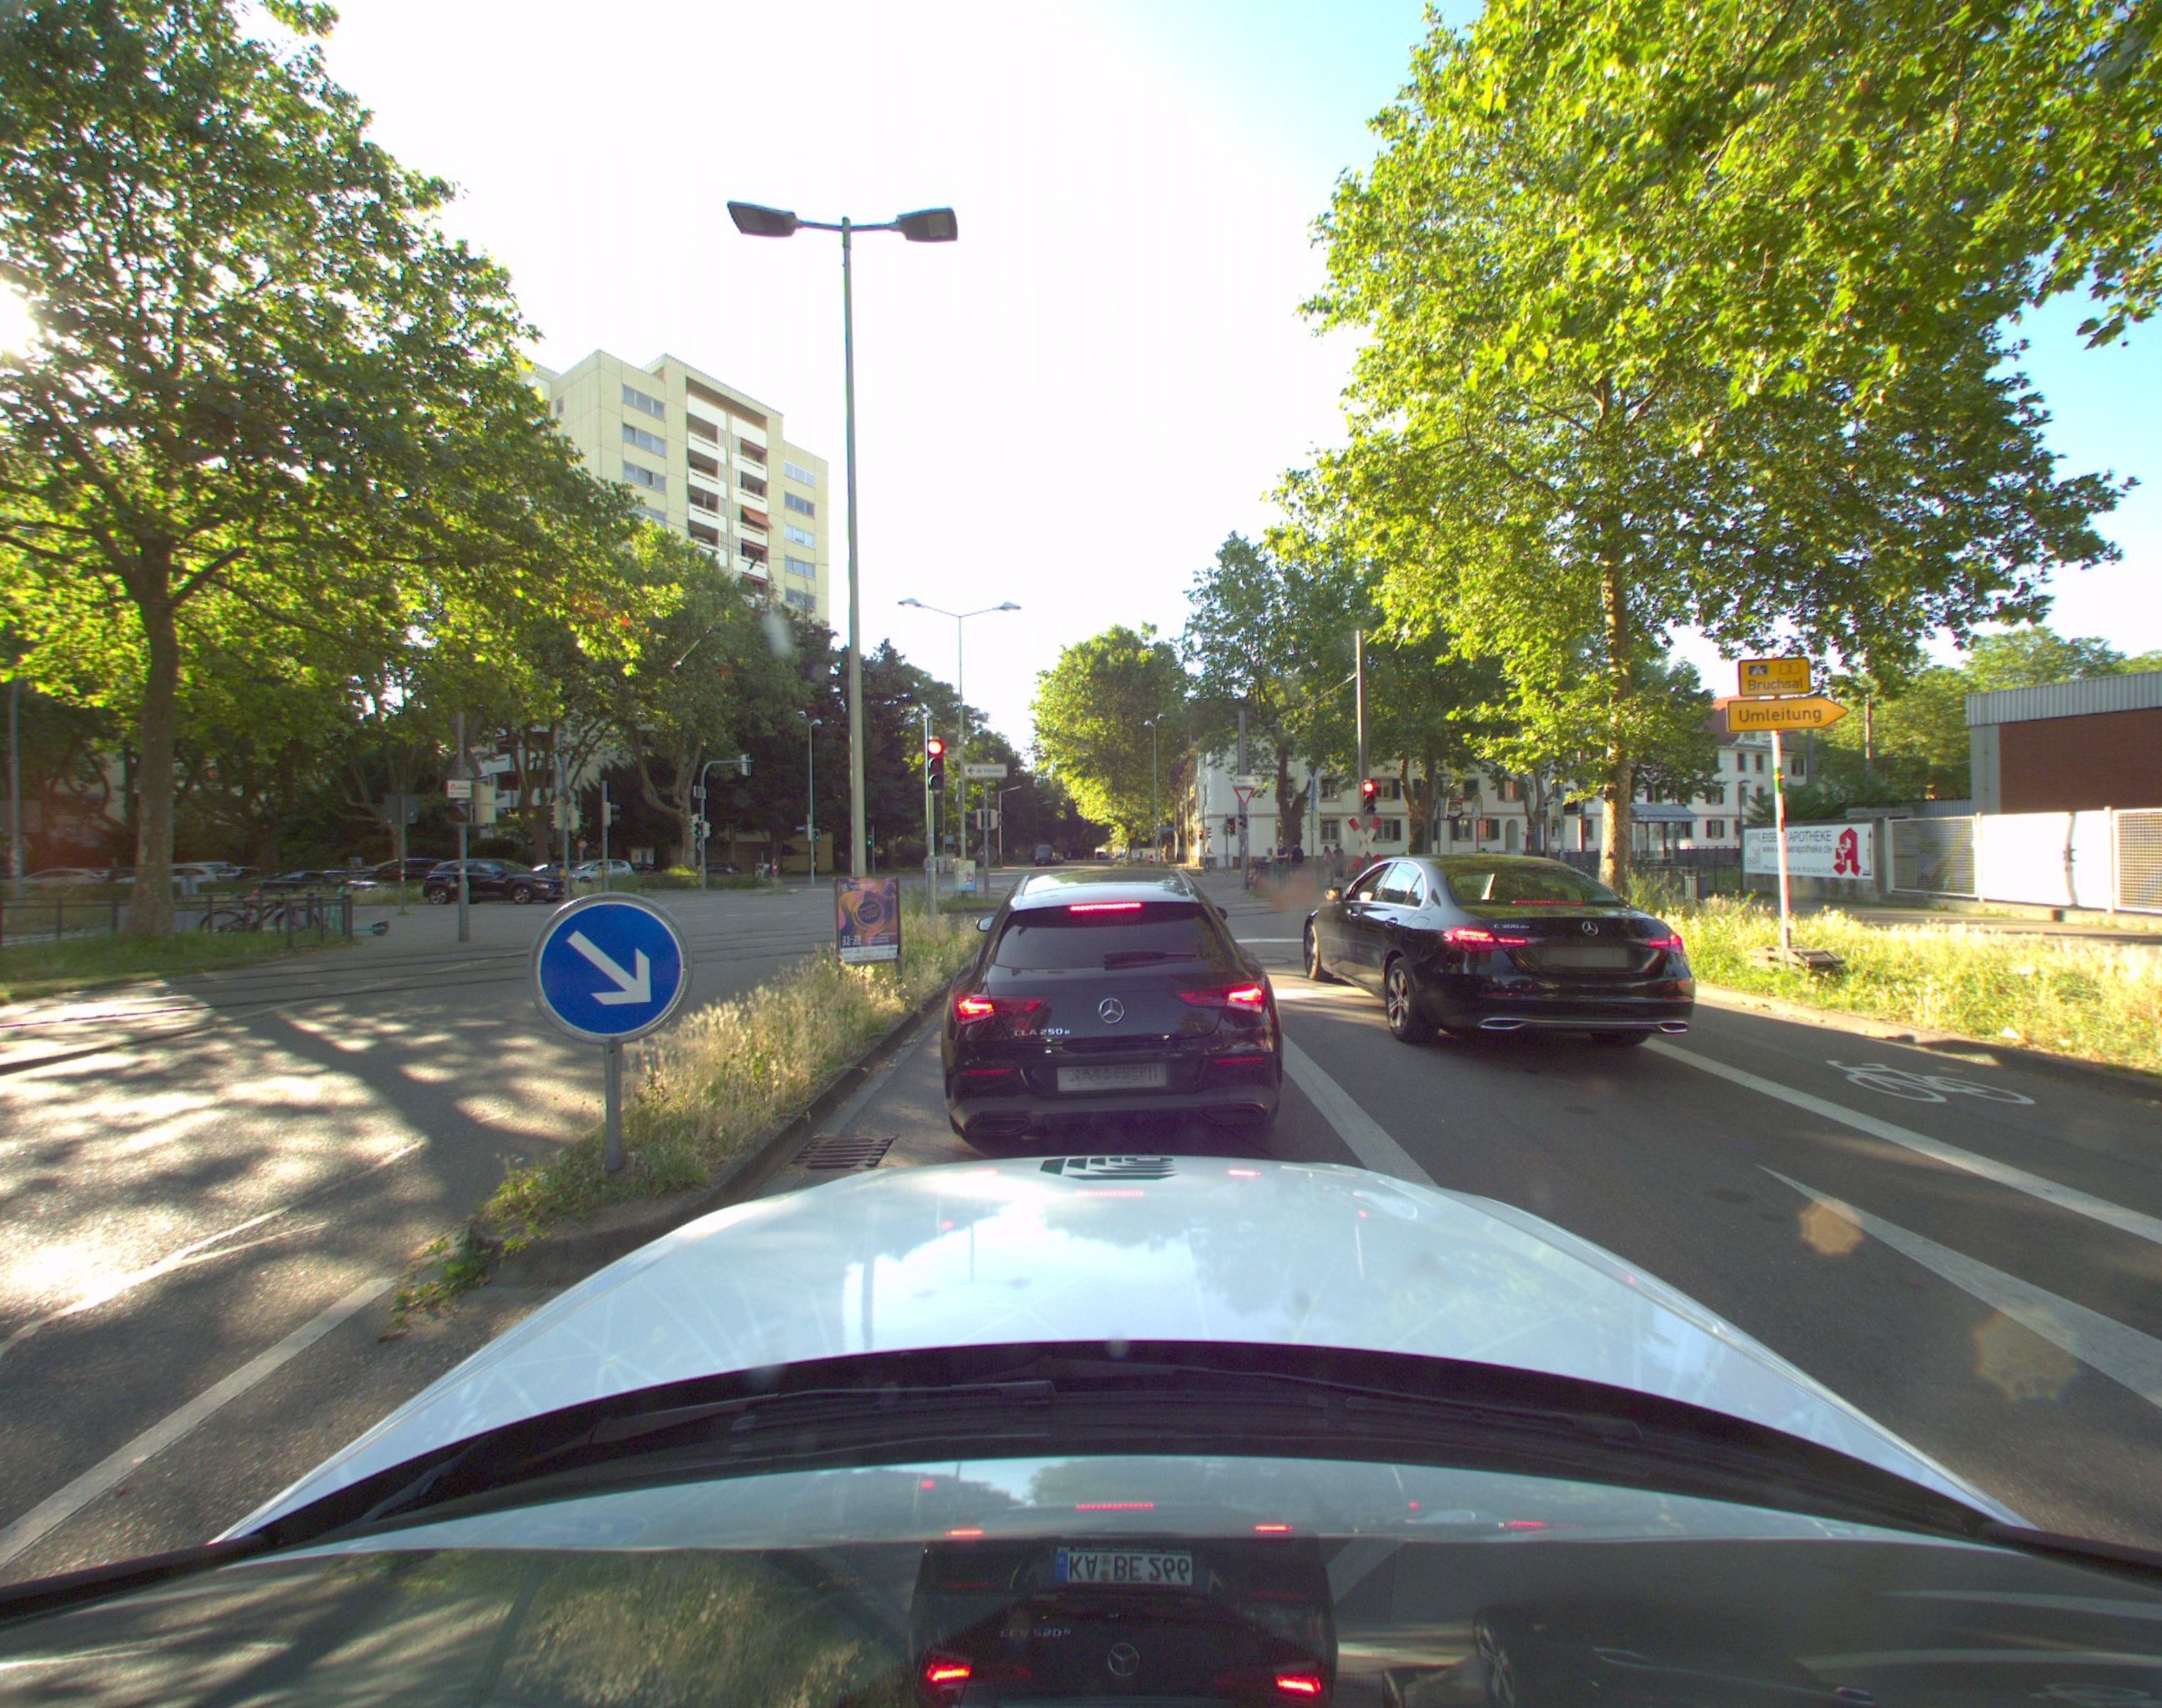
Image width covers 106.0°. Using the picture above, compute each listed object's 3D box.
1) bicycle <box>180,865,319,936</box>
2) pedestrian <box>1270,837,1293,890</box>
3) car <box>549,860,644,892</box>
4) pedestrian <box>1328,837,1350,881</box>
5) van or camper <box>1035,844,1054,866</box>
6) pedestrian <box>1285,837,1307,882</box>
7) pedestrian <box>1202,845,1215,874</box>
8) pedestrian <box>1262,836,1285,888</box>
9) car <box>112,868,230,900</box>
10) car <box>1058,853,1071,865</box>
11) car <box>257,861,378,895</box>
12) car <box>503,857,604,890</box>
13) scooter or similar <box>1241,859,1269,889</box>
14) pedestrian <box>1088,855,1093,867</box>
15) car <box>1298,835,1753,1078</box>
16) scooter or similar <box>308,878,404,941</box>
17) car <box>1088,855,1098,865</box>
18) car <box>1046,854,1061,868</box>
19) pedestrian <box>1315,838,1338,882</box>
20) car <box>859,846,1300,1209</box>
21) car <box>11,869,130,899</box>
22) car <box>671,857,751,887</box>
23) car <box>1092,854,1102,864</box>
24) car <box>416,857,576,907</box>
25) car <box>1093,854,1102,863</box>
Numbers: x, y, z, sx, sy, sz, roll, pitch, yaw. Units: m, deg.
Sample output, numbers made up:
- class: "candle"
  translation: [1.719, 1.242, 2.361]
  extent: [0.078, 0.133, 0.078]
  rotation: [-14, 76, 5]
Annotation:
- class: "bicycle"
  translation: [-15.956, 0.871, 15.673]
  extent: [1.845, 1.307, 0.380]
  rotation: [0, -1, -26]
- class: "pedestrian"
  translation: [7.409, 0.342, 30.087]
  extent: [0.680, 1.918, 0.707]
  rotation: [0, -1, 0]
- class: "car"
  translation: [-24.927, 1.096, 42.029]
  extent: [1.716, 1.596, 3.831]
  rotation: [-1, -1, 32]
- class: "pedestrian"
  translation: [11.569, 0.229, 36.544]
  extent: [0.703, 1.918, 0.838]
  rotation: [0, -1, -2]
- class: "van or camper"
  translation: [-4.426, 0.124, 100.054]
  extent: [1.986, 2.541, 4.653]
  rotation: [0, -1, 2]
- class: "pedestrian"
  translation: [9.315, 0.251, 35.272]
  extent: [0.703, 1.918, 0.838]
  rotation: [0, -1, -2]
- class: "pedestrian"
  translation: [8.456, 0.375, 53.956]
  extent: [0.703, 1.918, 0.838]
  rotation: [0, -1, -2]
- class: "pedestrian"
  translation: [7.284, 0.296, 30.863]
  extent: [0.681, 1.918, 0.707]
  rotation: [0, -1, -2]
- class: "car"
  translation: [-49.165, 1.584, 44.072]
  extent: [1.716, 1.596, 4.025]
  rotation: [-1, -1, 32]
- class: "car"
  translation: [-2.514, 0.813, 125.654]
  extent: [1.727, 1.765, 3.972]
  rotation: [0, -1, 2]
- class: "car"
  translation: [-37.418, 1.143, 40.000]
  extent: [1.716, 1.596, 4.025]
  rotation: [-1, -1, 32]
- class: "car"
  translation: [-27.224, 0.972, 42.163]
  extent: [1.716, 1.596, 4.025]
  rotation: [-1, -1, 32]
- class: "scooter or similar"
  translation: [6.452, 0.749, 30.287]
  extent: [0.826, 1.104, 0.808]
  rotation: [0, -1, -4]
- class: "pedestrian"
  translation: [1.528, 1.045, 130.204]
  extent: [0.704, 1.918, 0.837]
  rotation: [0, -1, -8]
- class: "car"
  translation: [3.401, 0.608, 7.377]
  extent: [1.882, 1.490, 4.385]
  rotation: [0, 2, 2]
- class: "scooter or similar"
  translation: [-15.096, 1.128, 16.985]
  extent: [0.408, 1.239, 1.450]
  rotation: [-1, -1, 40]
- class: "car"
  translation: [2.092, 1.000, 145.699]
  extent: [1.727, 1.765, 4.020]
  rotation: [0, -1, 2]
- class: "car"
  translation: [-3.685, 0.942, 109.597]
  extent: [1.727, 1.765, 4.343]
  rotation: [0, -1, 2]
- class: "pedestrian"
  translation: [10.718, 0.257, 35.563]
  extent: [0.703, 1.918, 0.838]
  rotation: [0, -1, -2]
- class: "car"
  translation: [0.103, 0.725, 5.486]
  extent: [1.881, 1.450, 4.004]
  rotation: [0, 2, 3]
- class: "car"
  translation: [-57.105, 1.662, 46.075]
  extent: [1.716, 1.596, 4.025]
  rotation: [-1, -1, 32]
- class: "car"
  translation: [-22.642, 1.114, 49.922]
  extent: [3.963, 1.774, 2.005]
  rotation: [-1, -1, 9]
- class: "car"
  translation: [2.905, 0.973, 150.545]
  extent: [1.727, 1.765, 4.020]
  rotation: [0, -1, 2]
- class: "car"
  translation: [-19.486, 0.912, 27.255]
  extent: [3.981, 1.596, 1.735]
  rotation: [0, -1, -5]
- class: "car"
  translation: [3.235, 0.894, 158.628]
  extent: [1.727, 1.765, 4.020]
  rotation: [0, -1, 2]
